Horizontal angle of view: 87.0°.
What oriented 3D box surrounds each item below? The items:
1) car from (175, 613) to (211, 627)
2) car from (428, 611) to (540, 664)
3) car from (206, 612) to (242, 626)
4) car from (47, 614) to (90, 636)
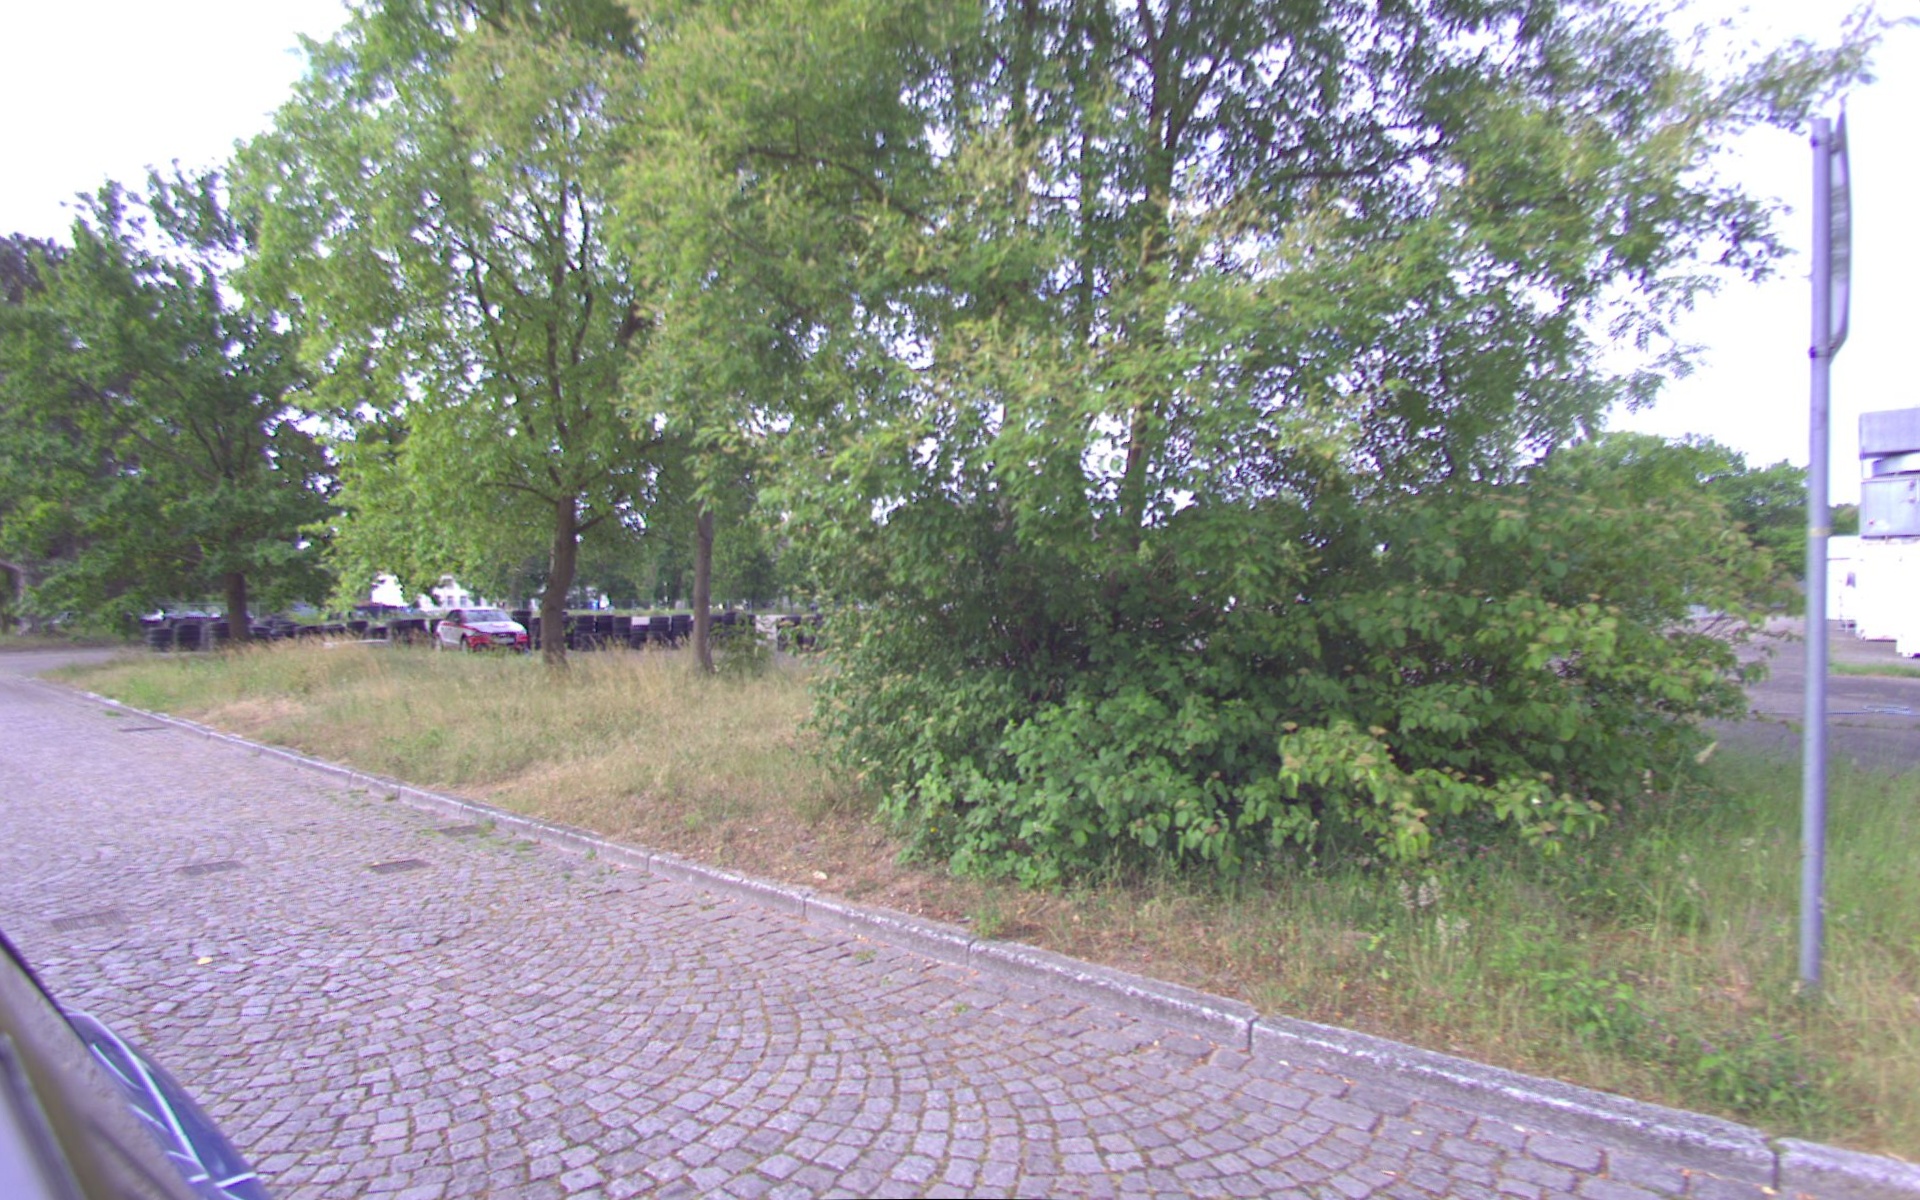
[{"bbox_3d":[-81.369,2.109,107.333,4.446,1.460,1.975,-1,0,38],"label":"car"},{"bbox_3d":[-14.147,1.059,29.971,1.802,1.442,4.223,0,-1,-43],"label":"car"},{"bbox_3d":[-79.920,2.079,109.846,4.446,1.460,1.975,-1,0,38],"label":"car"},{"bbox_3d":[-62.398,1.735,70.831,3.719,1.421,1.649,-1,0,39],"label":"car"}]
